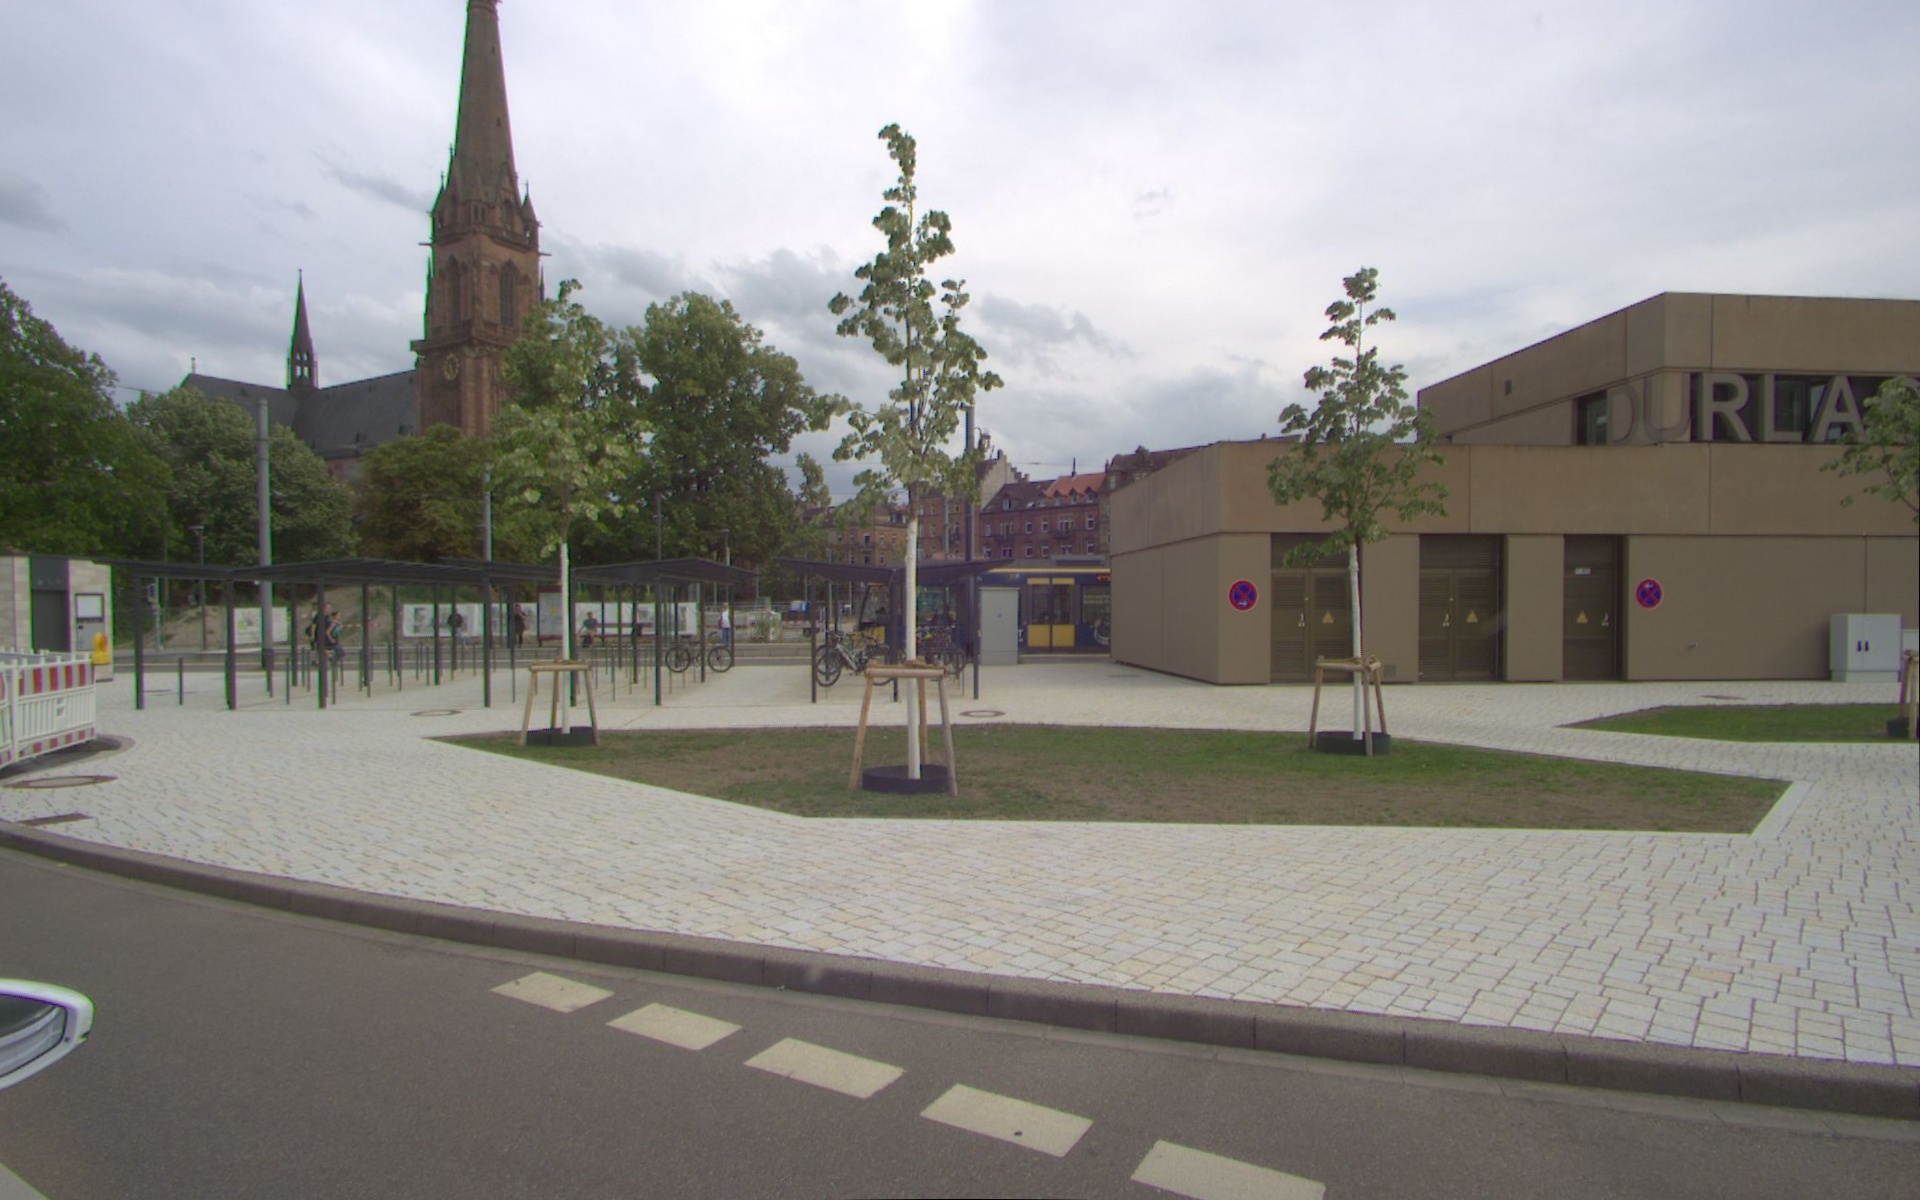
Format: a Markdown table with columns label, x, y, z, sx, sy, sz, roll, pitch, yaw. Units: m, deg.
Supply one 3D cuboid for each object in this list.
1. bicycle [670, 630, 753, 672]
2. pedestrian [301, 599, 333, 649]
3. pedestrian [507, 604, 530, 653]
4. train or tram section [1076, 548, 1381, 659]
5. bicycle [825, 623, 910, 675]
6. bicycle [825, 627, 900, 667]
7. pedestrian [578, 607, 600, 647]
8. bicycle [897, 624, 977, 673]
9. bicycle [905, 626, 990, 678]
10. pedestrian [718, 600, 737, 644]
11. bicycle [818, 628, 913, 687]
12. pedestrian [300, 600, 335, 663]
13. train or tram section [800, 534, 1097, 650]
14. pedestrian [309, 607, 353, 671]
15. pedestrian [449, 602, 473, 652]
| label | x | y | z | sx | sy | sz | roll | pitch | yaw |
| --- | --- | --- | --- | --- | --- | --- | --- | --- | --- |
| bicycle | -6.136 | 1.264 | 24.814 | 1.929 | 0.968 | 0.583 | 2 | 1 | -7 |
| pedestrian | -24.017 | 0.902 | 37.399 | 0.743 | 1.825 | 0.817 | 3 | 2 | 42 |
| pedestrian | -16.647 | 1.069 | 37.731 | 0.665 | 1.825 | 0.522 | 2 | 2 | -11 |
| train or tram section | 8.795 | 0.117 | 33.477 | 9.248 | 3.256 | 3.061 | 2 | 1 | -4 |
| bicycle | -2.224 | 1.185 | 24.022 | 1.931 | 1.172 | 0.583 | 2 | 1 | -13 |
| bicycle | -2.593 | 1.239 | 26.507 | 1.929 | 0.983 | 0.583 | 2 | 1 | -7 |
| pedestrian | -14.100 | 1.023 | 38.086 | 0.665 | 1.505 | 0.689 | 2 | 1 | -11 |
| bicycle | -0.601 | 1.225 | 25.509 | 1.931 | 1.172 | 0.583 | 2 | 1 | -13 |
| bicycle | -0.298 | 1.251 | 24.087 | 1.931 | 1.172 | 0.583 | 2 | 1 | -13 |
| pedestrian | -9.151 | 0.868 | 39.463 | 0.665 | 1.701 | 0.709 | 2 | 1 | -11 |
| bicycle | -2.010 | 1.222 | 21.245 | 1.931 | 1.172 | 0.583 | 2 | 1 | -13 |
| pedestrian | -17.543 | 0.844 | 27.350 | 0.618 | 1.677 | 0.531 | 2 | 1 | -5 |
| train or tram section | -0.428 | -0.245 | 32.752 | 9.189 | 3.322 | 3.061 | 2 | 1 | -4 |
| pedestrian | -16.445 | 1.017 | 26.192 | 0.782 | 1.625 | 0.538 | 2 | 1 | -5 |
| pedestrian | -18.685 | 1.013 | 37.478 | 0.665 | 1.825 | 0.522 | 2 | 2 | -11 |
